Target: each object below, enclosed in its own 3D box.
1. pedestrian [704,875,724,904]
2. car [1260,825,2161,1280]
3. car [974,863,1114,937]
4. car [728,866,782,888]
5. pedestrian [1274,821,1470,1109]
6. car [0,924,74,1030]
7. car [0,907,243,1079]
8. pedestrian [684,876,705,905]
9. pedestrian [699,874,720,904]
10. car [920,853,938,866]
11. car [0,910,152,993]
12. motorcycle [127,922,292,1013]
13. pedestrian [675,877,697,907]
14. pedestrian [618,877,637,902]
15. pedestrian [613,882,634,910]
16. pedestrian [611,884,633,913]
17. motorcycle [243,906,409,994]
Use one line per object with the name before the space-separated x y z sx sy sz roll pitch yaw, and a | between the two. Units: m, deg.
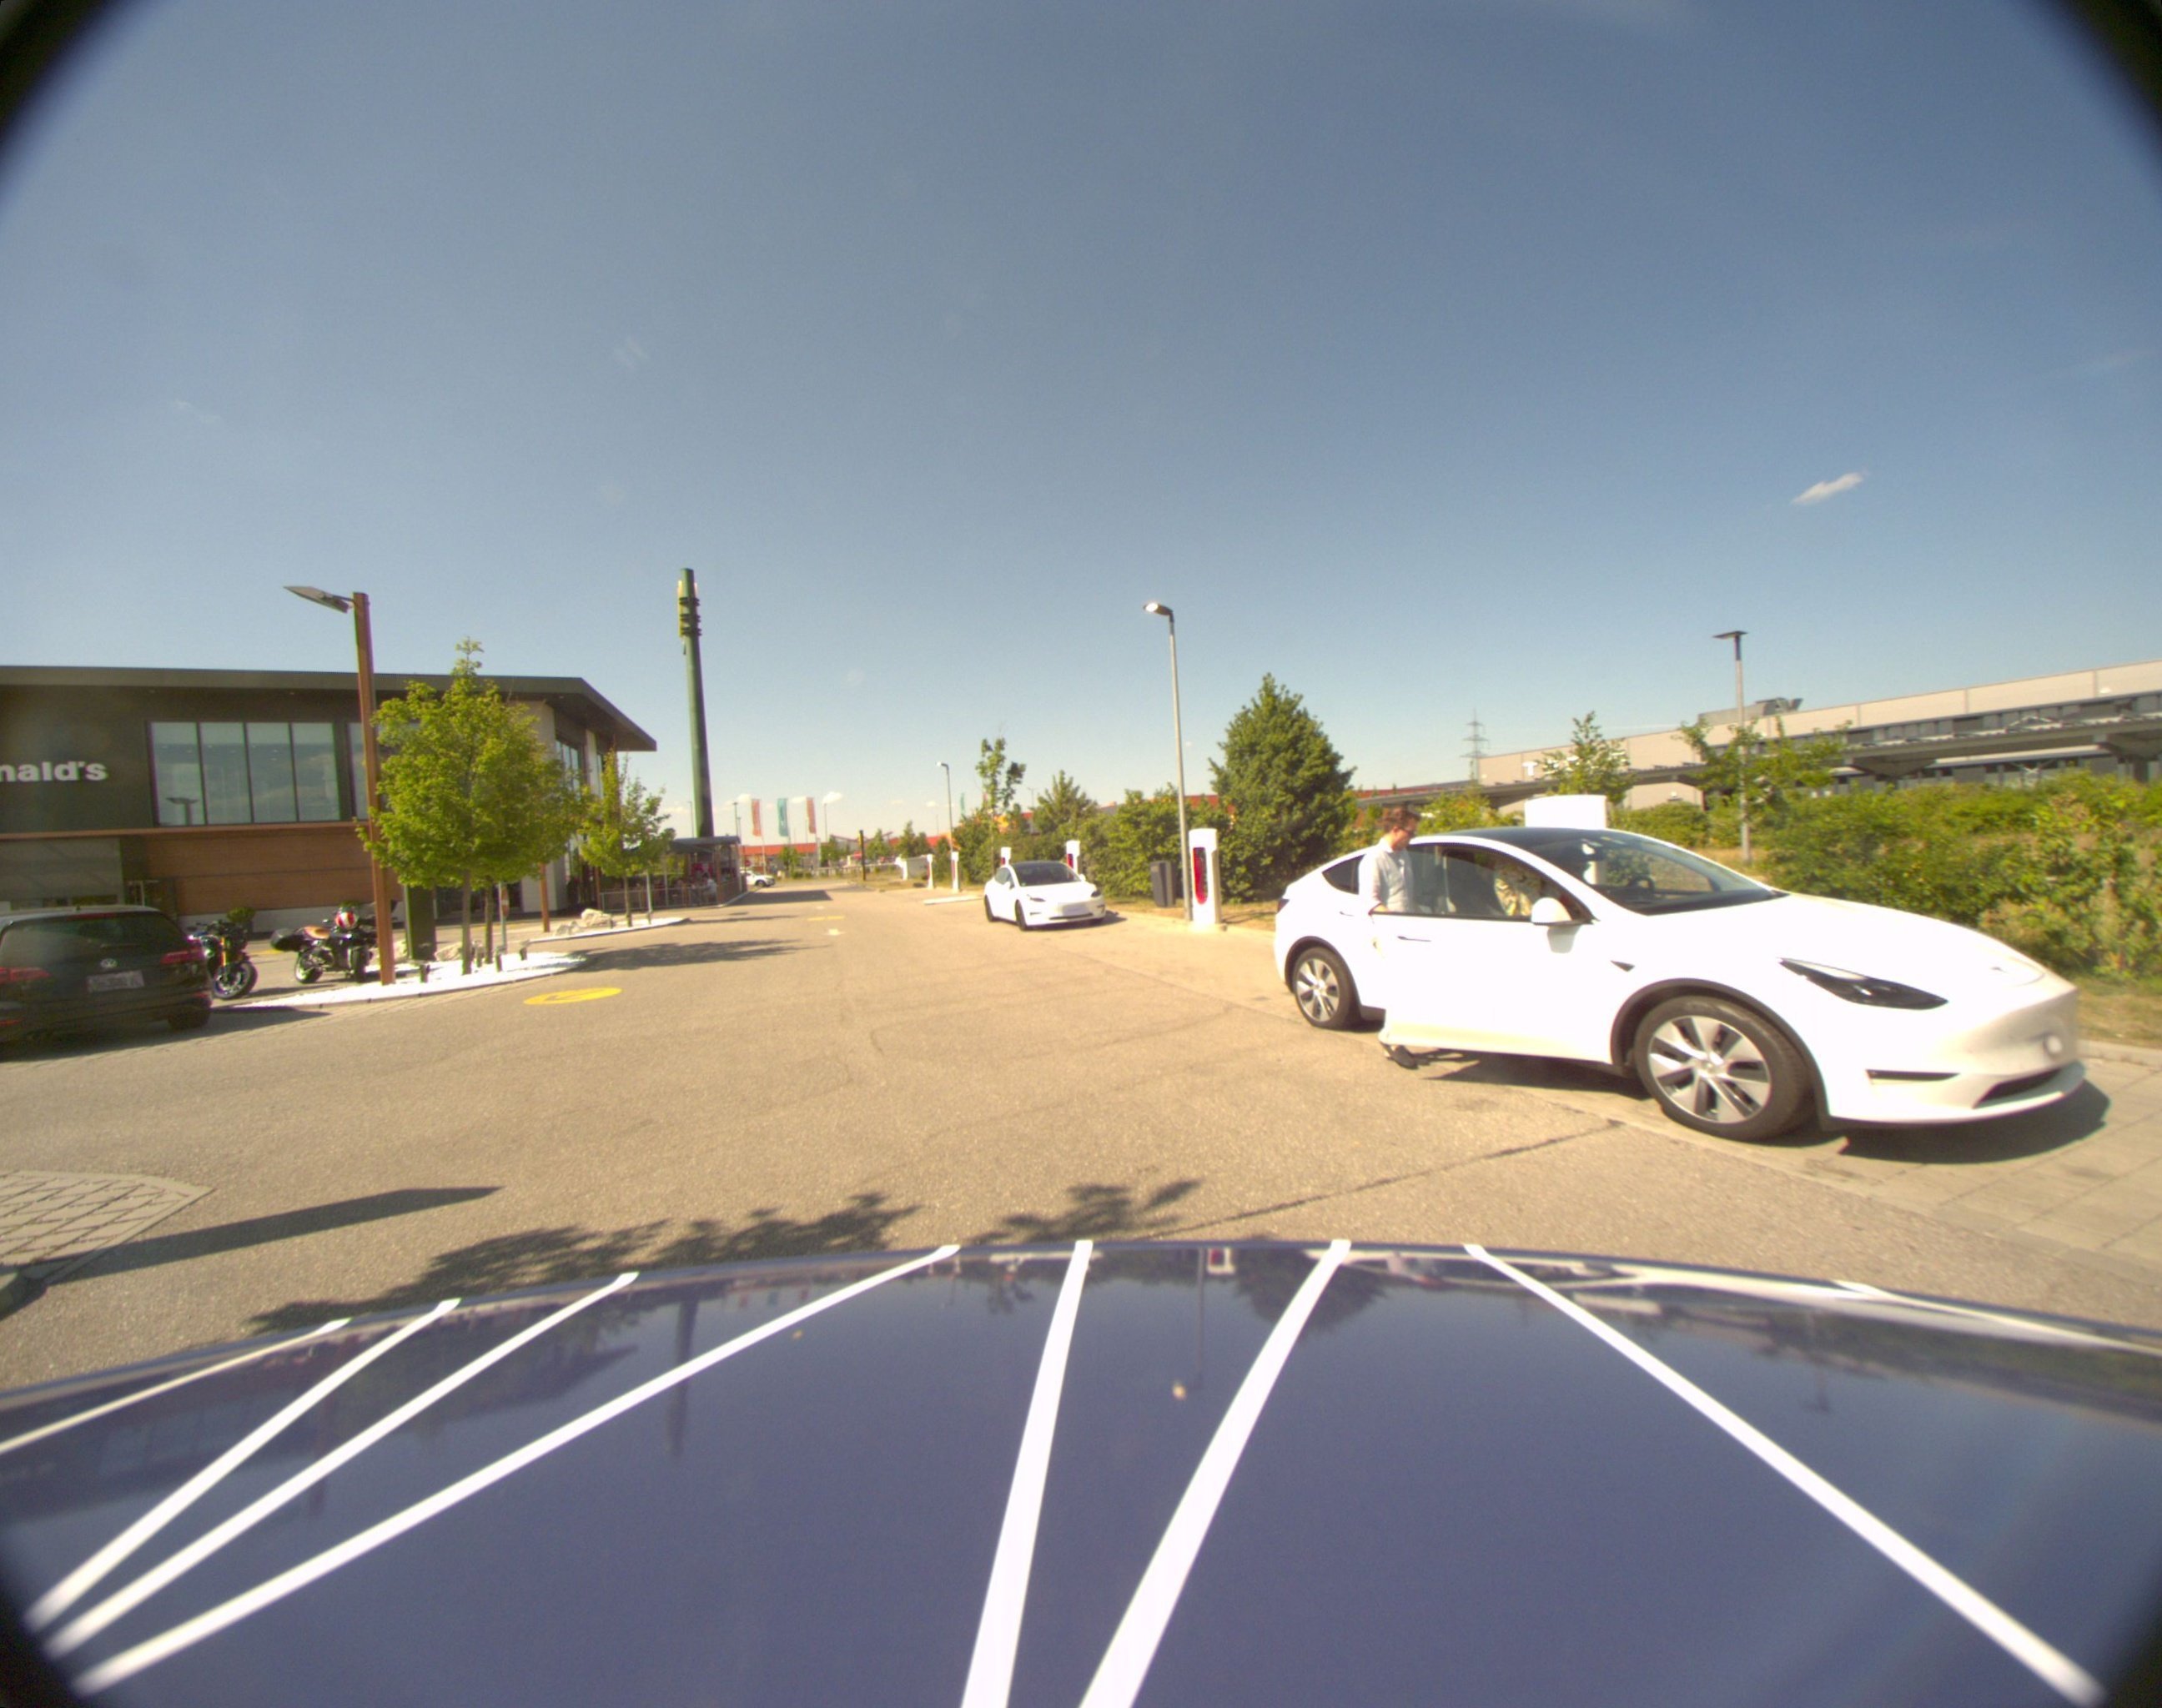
pedestrian | -16.874 1.638 34.927 0.730 1.251 0.572 -4 1 -25
car | 3.404 0.746 5.216 1.872 1.591 4.480 -4 1 -23
car | -1.009 0.956 17.680 1.824 1.369 4.441 -4 1 -22
car | -29.606 2.099 69.071 3.996 1.652 1.810 -4 1 5
pedestrian | 2.022 0.708 5.407 0.737 1.790 1.034 -4 1 -16
car | -17.560 1.973 11.540 4.652 1.438 1.838 -5 0 27
car | -12.241 1.525 8.908 4.181 1.528 1.898 -3 1 23
pedestrian | -17.596 1.673 34.616 0.716 1.251 0.523 -4 1 -24
pedestrian | -16.405 1.547 33.584 0.730 1.251 0.572 -4 1 -25
car | -24.024 0.859 119.950 2.002 2.002 3.993 -3 0 -20
car | -25.677 2.400 17.972 1.786 1.595 4.232 -1 4 23
motorcycle | -13.604 1.771 11.870 2.137 1.224 0.821 -4 1 18
pedestrian | -17.017 1.633 32.742 0.716 1.251 0.523 -4 1 -24
pedestrian | -20.806 1.624 34.847 0.574 1.094 0.655 -4 1 -22
pedestrian | -19.402 1.789 32.250 0.635 1.117 0.523 -4 1 -24
pedestrian | -19.110 1.852 31.660 0.635 1.117 0.523 -4 1 -24
motorcycle | -12.770 1.619 12.869 2.247 1.244 1.072 -5 2 21
